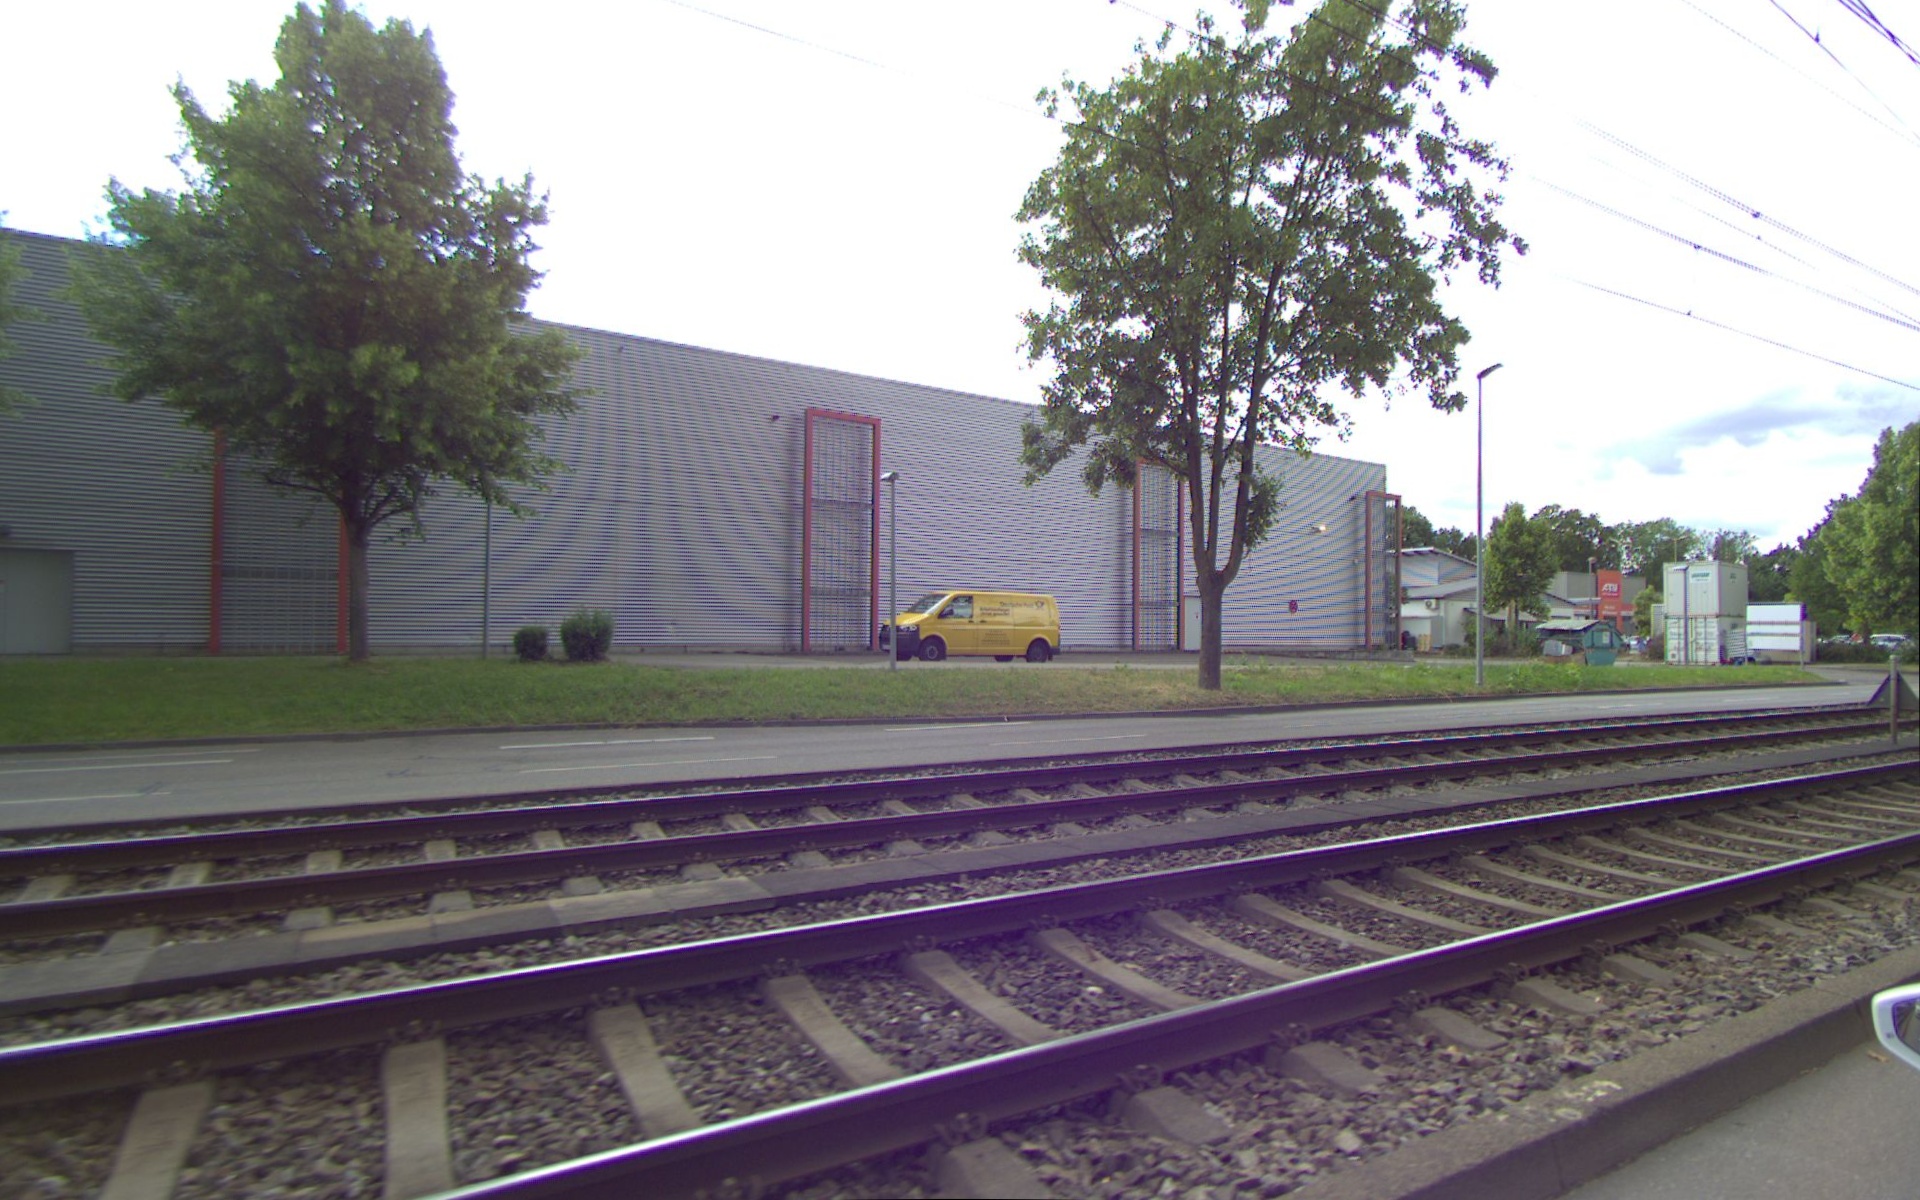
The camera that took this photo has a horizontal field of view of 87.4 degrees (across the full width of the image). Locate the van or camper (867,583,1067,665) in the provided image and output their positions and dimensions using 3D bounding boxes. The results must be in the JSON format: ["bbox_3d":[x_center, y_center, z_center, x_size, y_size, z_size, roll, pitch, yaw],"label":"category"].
[{"bbox_3d":[0.258,0.669,27.390,5.187,2.040,2.091,1,-1,-34],"label":"van or camper"}]

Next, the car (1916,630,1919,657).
[{"bbox_3d":[63.272,2.758,63.159,1.973,1.750,4.199,1,-2,-31],"label":"car"}]
